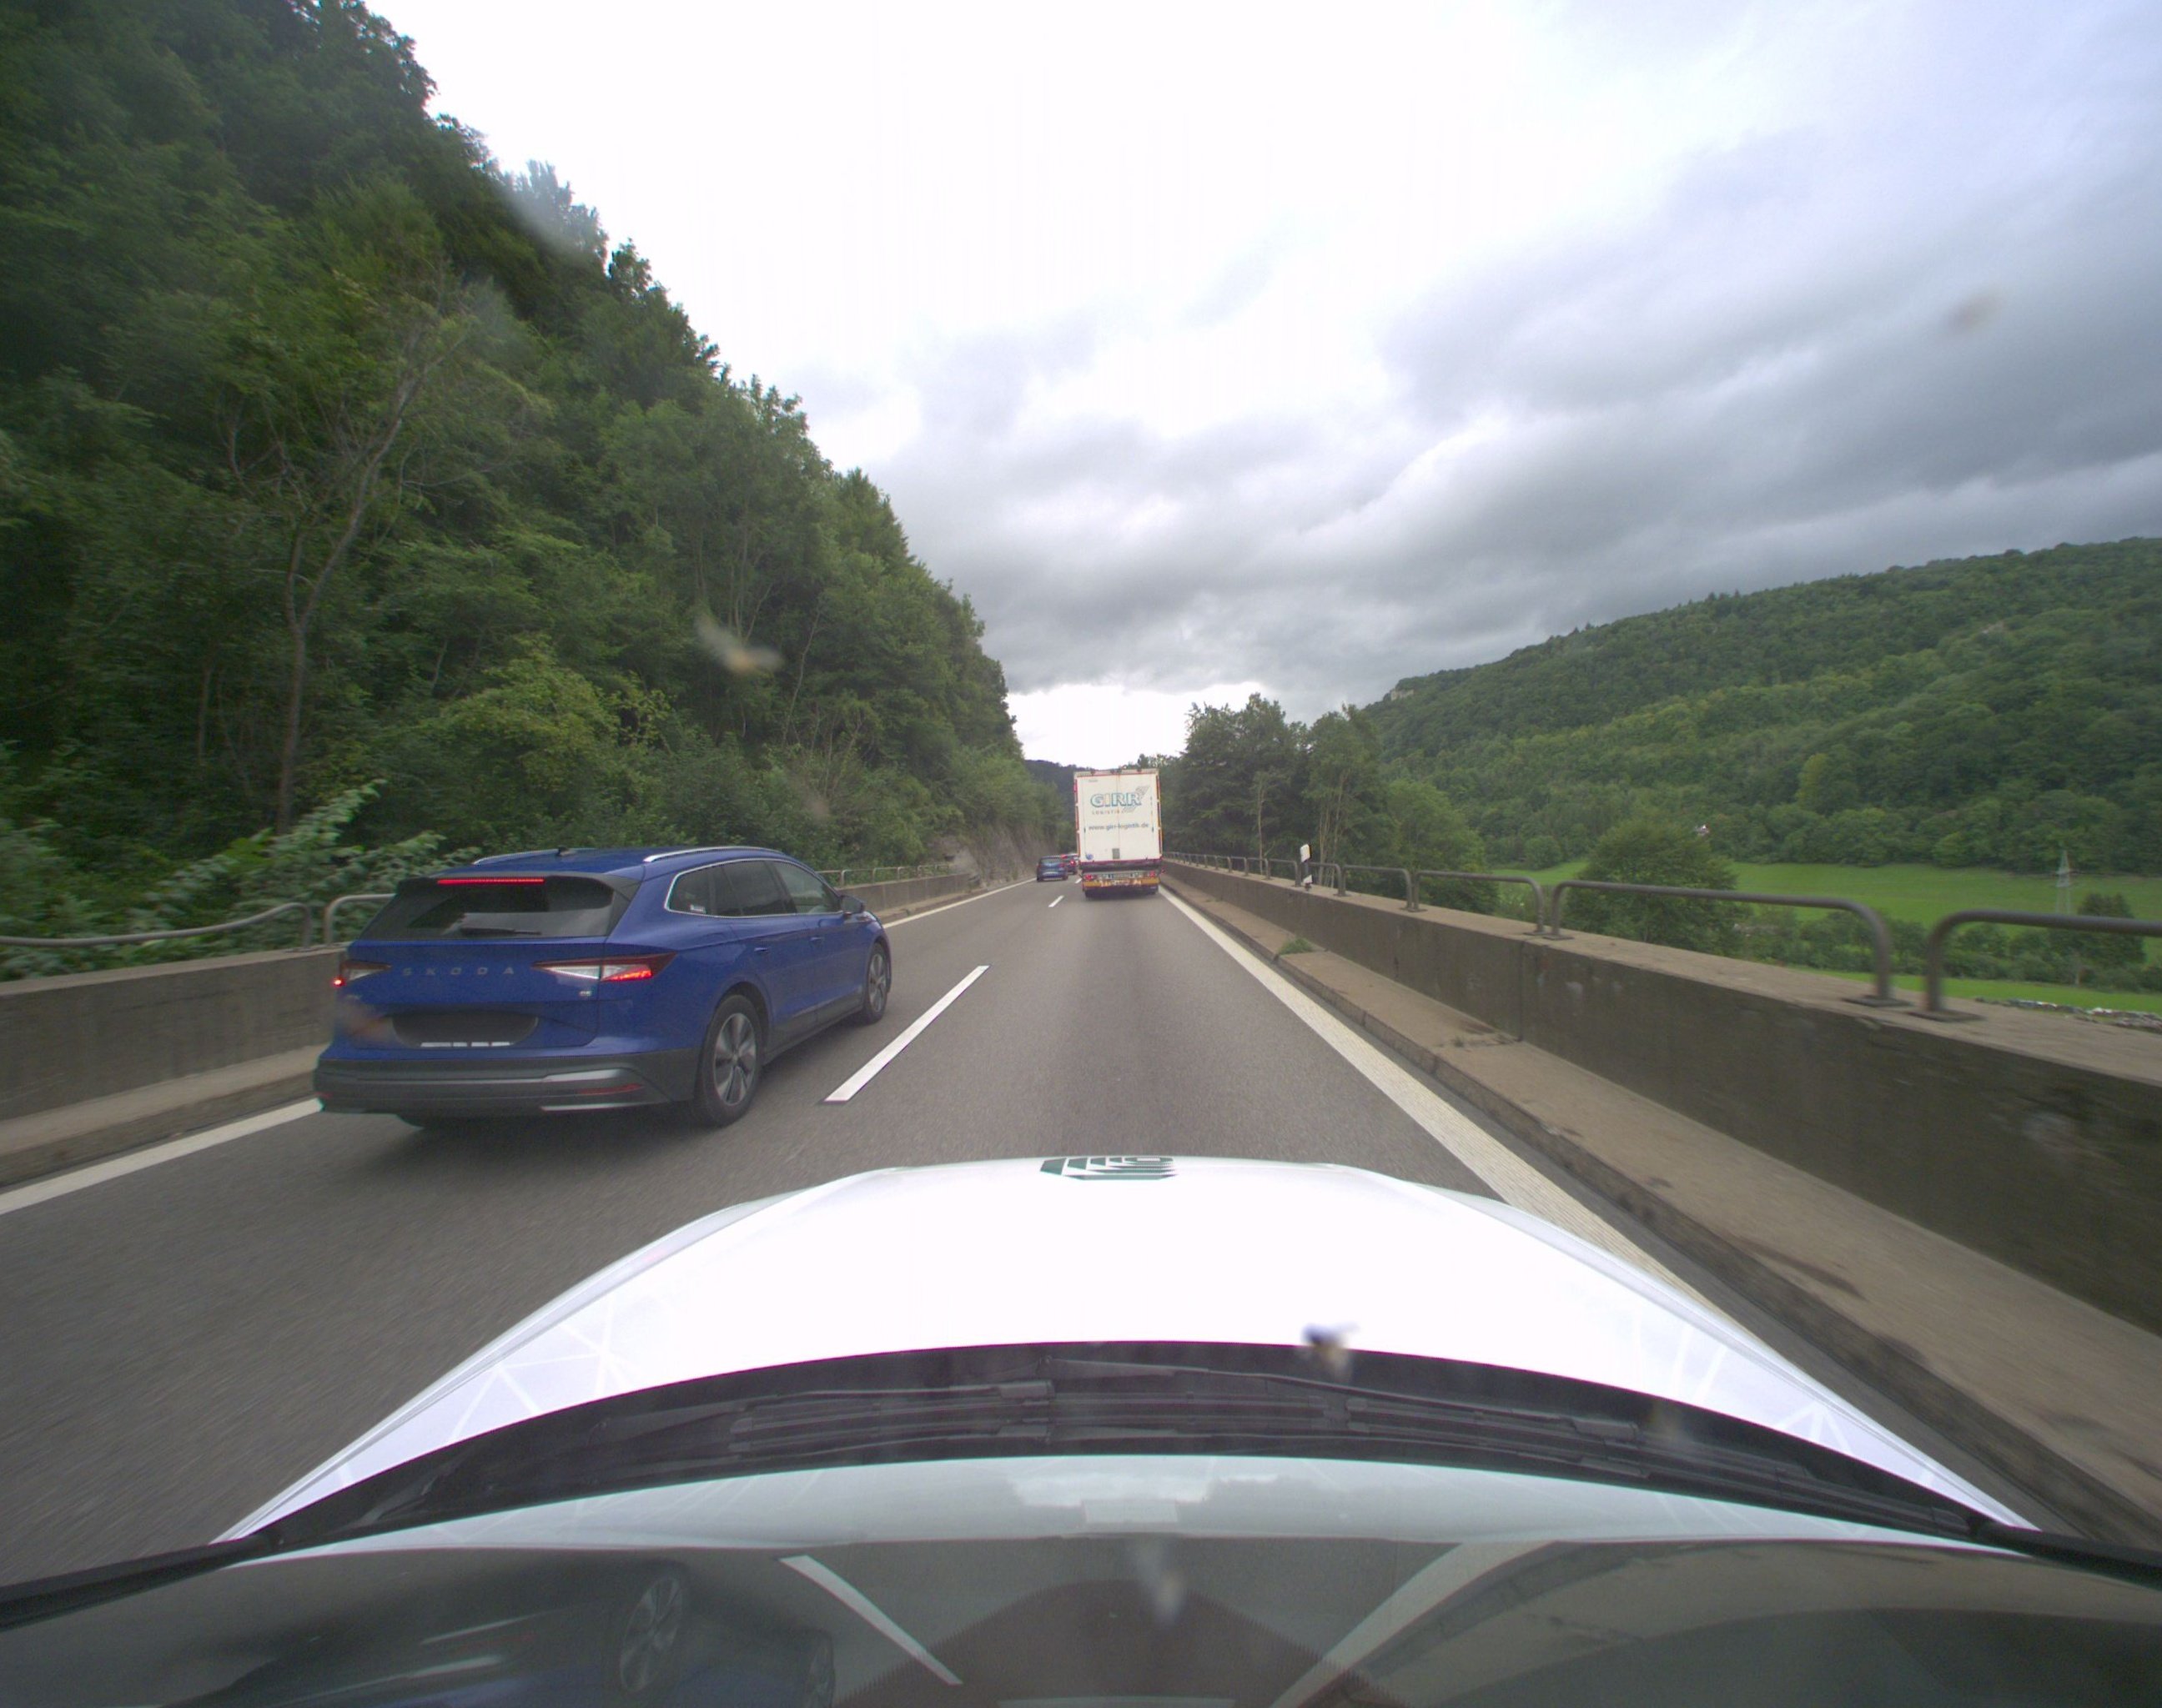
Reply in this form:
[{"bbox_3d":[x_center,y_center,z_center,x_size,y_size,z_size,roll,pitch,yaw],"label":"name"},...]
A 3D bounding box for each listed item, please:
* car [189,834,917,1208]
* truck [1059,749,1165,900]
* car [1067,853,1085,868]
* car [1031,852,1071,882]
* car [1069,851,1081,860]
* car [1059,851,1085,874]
[{"bbox_3d":[-2.842,0.722,6.090,1.985,1.632,5.012,0,0,3],"label":"car"},{"bbox_3d":[1.180,-0.889,31.873,3.073,4.464,15.162,-1,0,2],"label":"truck"},{"bbox_3d":[-0.535,0.696,85.632,1.739,1.486,4.001,-1,0,1],"label":"car"},{"bbox_3d":[-1.683,0.716,47.089,1.986,1.596,4.356,0,0,2],"label":"car"},{"bbox_3d":[-1.101,0.306,146.288,1.744,1.587,3.990,0,-1,-7],"label":"car"},{"bbox_3d":[-0.629,0.609,58.178,1.739,1.587,4.000,0,-1,1],"label":"car"}]
